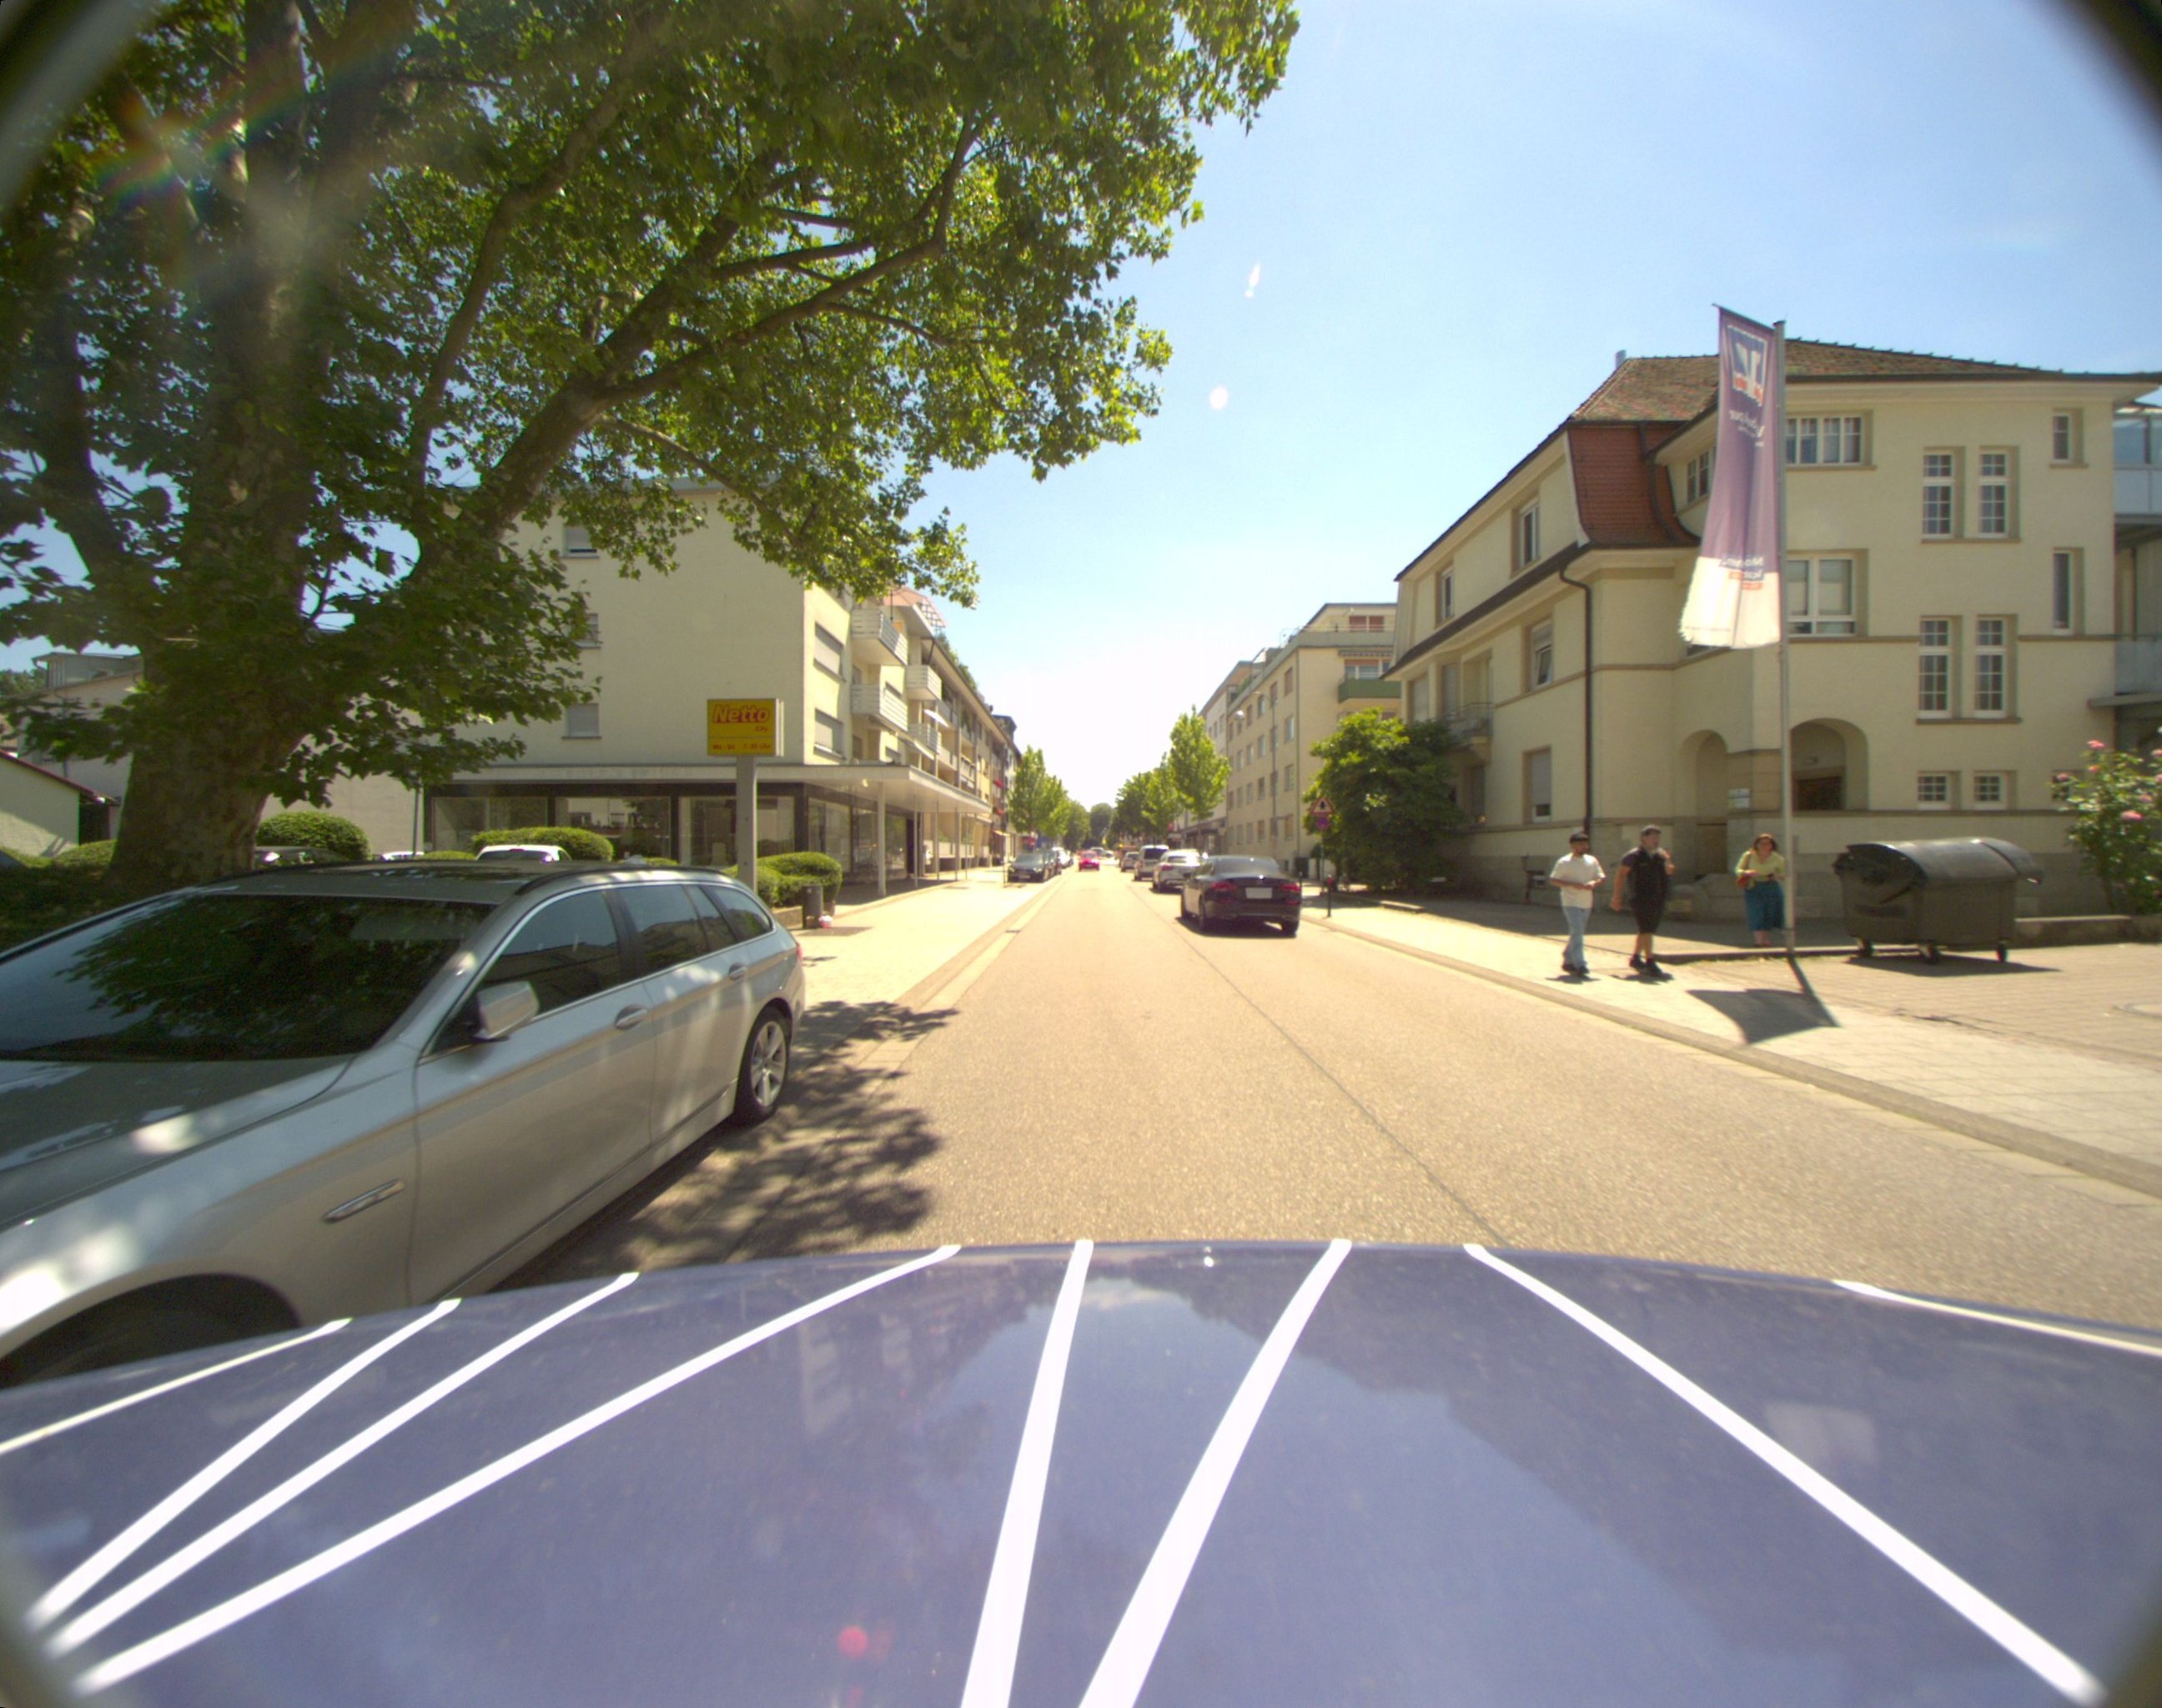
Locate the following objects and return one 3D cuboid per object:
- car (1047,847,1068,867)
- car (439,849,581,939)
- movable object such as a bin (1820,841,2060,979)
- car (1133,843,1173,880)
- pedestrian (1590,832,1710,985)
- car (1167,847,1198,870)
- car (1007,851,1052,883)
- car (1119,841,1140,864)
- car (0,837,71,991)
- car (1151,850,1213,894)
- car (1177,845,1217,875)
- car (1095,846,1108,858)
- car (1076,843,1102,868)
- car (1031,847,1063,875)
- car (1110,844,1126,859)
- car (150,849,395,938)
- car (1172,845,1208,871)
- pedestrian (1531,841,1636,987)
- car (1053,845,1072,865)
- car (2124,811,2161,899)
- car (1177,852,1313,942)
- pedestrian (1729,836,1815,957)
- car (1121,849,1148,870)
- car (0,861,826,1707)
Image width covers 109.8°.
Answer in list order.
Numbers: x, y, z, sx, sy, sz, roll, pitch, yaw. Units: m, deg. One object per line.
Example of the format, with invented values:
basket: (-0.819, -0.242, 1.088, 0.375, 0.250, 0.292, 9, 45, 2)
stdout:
car: (-2.062, 0.244, 67.215, 1.731, 1.680, 4.114, 0, 1, 1)
car: (-10.791, 0.660, 14.608, 1.740, 1.491, 3.454, -1, 1, -30)
movable object such as a bin: (10.272, 0.624, 9.178, 1.390, 1.480, 1.294, -3, 1, 1)
car: (3.710, 0.344, 39.610, 1.706, 1.815, 4.231, 1, 1, 1)
pedestrian: (6.896, 0.630, 9.252, 0.750, 1.760, 0.951, -1, 1, 0)
car: (7.503, 0.312, 56.677, 1.731, 1.661, 4.293, -1, 1, 1)
car: (-2.513, 0.619, 37.967, 1.818, 1.379, 4.114, 3, 1, 0)
car: (4.561, -0.152, 72.328, 1.731, 2.154, 4.293, 1, 1, 1)
car: (-11.942, 0.611, 6.191, 1.687, 1.534, 4.102, 0, 1, 13)
car: (3.723, 0.619, 28.586, 1.834, 1.502, 4.031, 0, 1, 1)
car: (6.841, 0.308, 45.097, 1.731, 1.661, 4.293, -1, 1, 1)
car: (2.846, -0.258, 104.079, 1.698, 1.594, 3.812, 0, 1, 0)
car: (0.655, 0.080, 61.918, 2.000, 1.880, 4.293, -2, 1, 1)
car: (-2.170, 0.403, 49.175, 1.731, 1.752, 4.115, 0, 1, 2)
car: (4.958, -0.330, 102.817, 2.000, 1.880, 4.293, 1, 1, 1)
car: (-15.857, 0.677, 15.209, 1.739, 1.491, 3.624, -2, 1, -17)
car: (7.305, 0.229, 51.203, 1.731, 1.661, 4.293, -1, 1, 0)
pedestrian: (6.083, 0.691, 9.246, 0.622, 1.667, 0.903, -3, 1, 0)
car: (-1.750, 0.076, 72.553, 1.731, 1.861, 4.114, 0, 1, 1)
car: (21.553, -0.084, 13.387, 3.877, 1.570, 1.794, -3, 1, 0)
car: (3.133, 0.744, 15.379, 1.834, 1.502, 4.262, 1, 1, 1)
pedestrian: (9.826, 0.582, 10.834, 0.541, 1.665, 0.735, 0, 1, 0)
car: (4.021, 0.377, 57.565, 1.731, 1.500, 4.293, 1, 1, 1)
car: (-2.696, 0.862, 2.773, 1.834, 1.502, 4.759, 2, 1, 1)
